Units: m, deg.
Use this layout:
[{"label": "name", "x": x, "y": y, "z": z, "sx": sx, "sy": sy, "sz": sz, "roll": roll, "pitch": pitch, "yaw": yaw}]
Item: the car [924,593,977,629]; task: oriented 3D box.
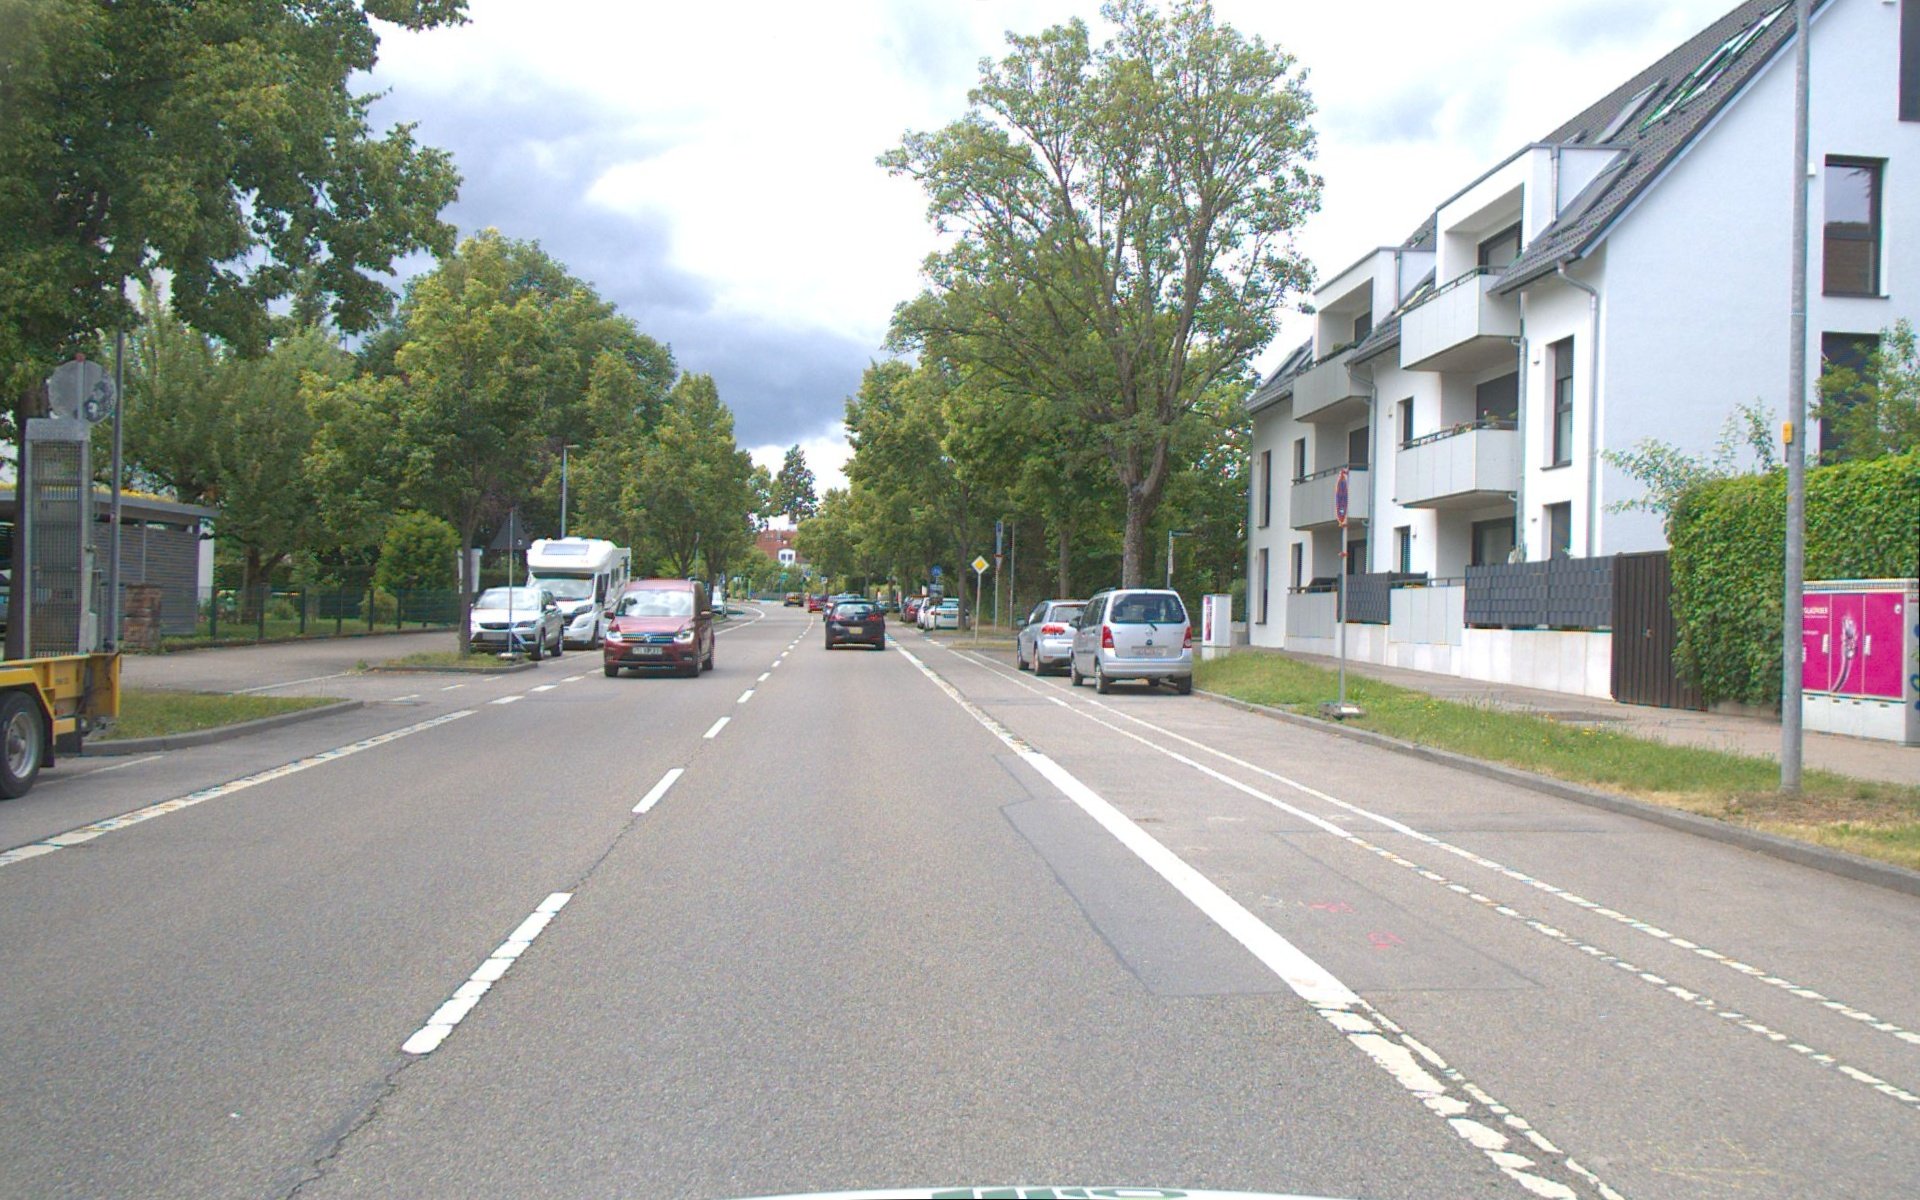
[{"label": "car", "x": -0.443, "y": 0.453, "z": 71.499, "sx": 1.981, "sy": 1.469, "sz": 5.021, "roll": 1, "pitch": 0, "yaw": -4}]

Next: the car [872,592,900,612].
[{"label": "car", "x": -5.684, "y": 0.145, "z": 126.545, "sx": 1.652, "sy": 1.457, "sz": 4.035, "roll": 1, "pitch": 0, "yaw": -9}]

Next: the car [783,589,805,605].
[{"label": "car", "x": -16.763, "y": -0.252, "z": 166.536, "sx": 1.957, "sy": 1.534, "sz": 3.991, "roll": 1, "pitch": -1, "yaw": -9}]

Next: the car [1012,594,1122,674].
[{"label": "car", "x": 2.119, "y": 0.656, "z": 33.893, "sx": 1.654, "sy": 1.519, "sz": 4.223, "roll": 0, "pitch": 0, "yaw": -5}]

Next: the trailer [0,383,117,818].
[{"label": "trailer", "x": -7.746, "y": -0.037, "z": 9.335, "sx": 2.622, "sy": 2.992, "sz": 7.467, "roll": 1, "pitch": -1, "yaw": -5}]

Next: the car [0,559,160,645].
[{"label": "car", "x": -17.419, "y": 0.031, "z": 32.436, "sx": 1.672, "sy": 1.557, "sz": 3.997, "roll": 1, "pitch": 0, "yaw": -3}]

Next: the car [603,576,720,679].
[{"label": "car", "x": -5.675, "y": 0.490, "z": 31.957, "sx": 1.726, "sy": 1.834, "sz": 4.764, "roll": 1, "pitch": 0, "yaw": -4}]

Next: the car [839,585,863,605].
[{"label": "car", "x": -10.149, "y": -0.497, "z": 153.808, "sx": 1.756, "sy": 1.803, "sz": 3.973, "roll": 1, "pitch": 0, "yaw": -9}]

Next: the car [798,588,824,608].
[{"label": "car", "x": -11.975, "y": -0.148, "z": 132.896, "sx": 1.955, "sy": 1.557, "sz": 3.995, "roll": 1, "pitch": 0, "yaw": -6}]

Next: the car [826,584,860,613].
[{"label": "car", "x": -6.869, "y": -0.121, "z": 96.966, "sx": 1.954, "sy": 1.585, "sz": 3.997, "roll": 1, "pitch": 1, "yaw": -5}]

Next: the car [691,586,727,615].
[{"label": "car", "x": -15.067, "y": 0.023, "z": 99.469, "sx": 1.837, "sy": 1.718, "sz": 4.861, "roll": 0, "pitch": 0, "yaw": -5}]

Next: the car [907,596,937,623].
[{"label": "car", "x": -2.124, "y": 0.509, "z": 91.743, "sx": 1.605, "sy": 1.445, "sz": 3.998, "roll": 0, "pitch": 0, "yaw": -3}]

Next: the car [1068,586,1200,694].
[{"label": "car", "x": 2.887, "y": 0.635, "z": 28.128, "sx": 1.600, "sy": 1.694, "sz": 3.645, "roll": 1, "pitch": 0, "yaw": -4}]

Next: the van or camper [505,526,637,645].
[{"label": "van or camper", "x": -10.831, "y": -0.388, "z": 46.737, "sx": 2.387, "sy": 3.062, "sz": 7.686, "roll": 1, "pitch": 0, "yaw": -4}]

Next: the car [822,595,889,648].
[{"label": "car", "x": -3.064, "y": 0.603, "z": 47.868, "sx": 1.749, "sy": 1.474, "sz": 3.553, "roll": 1, "pitch": 0, "yaw": -7}]

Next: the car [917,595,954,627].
[{"label": "car", "x": -1.196, "y": 0.516, "z": 79.894, "sx": 1.584, "sy": 1.485, "sz": 3.654, "roll": 0, "pitch": 0, "yaw": -5}]

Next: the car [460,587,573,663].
[{"label": "car", "x": -10.122, "y": 0.529, "z": 38.039, "sx": 1.688, "sy": 1.628, "sz": 4.269, "roll": 1, "pitch": 0, "yaw": -4}]
